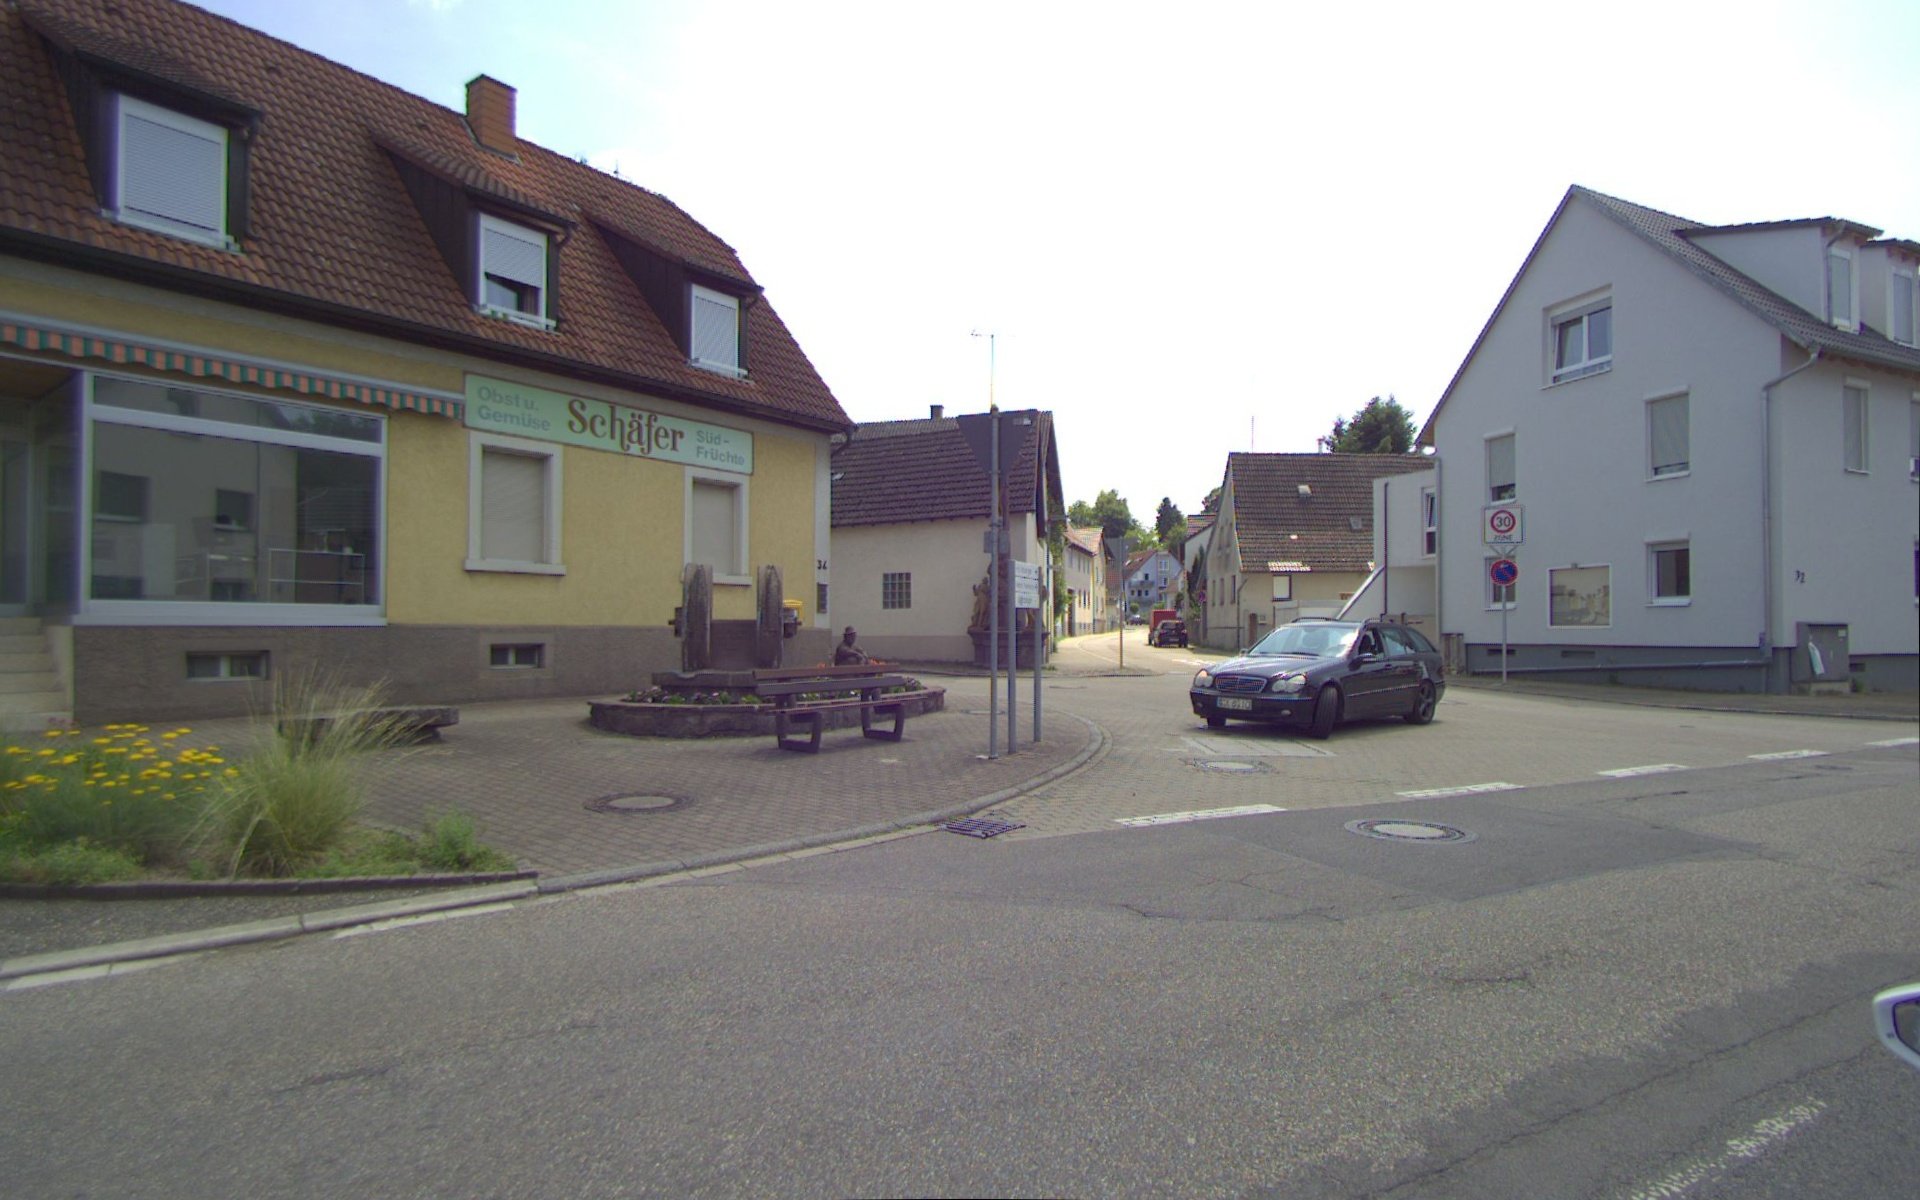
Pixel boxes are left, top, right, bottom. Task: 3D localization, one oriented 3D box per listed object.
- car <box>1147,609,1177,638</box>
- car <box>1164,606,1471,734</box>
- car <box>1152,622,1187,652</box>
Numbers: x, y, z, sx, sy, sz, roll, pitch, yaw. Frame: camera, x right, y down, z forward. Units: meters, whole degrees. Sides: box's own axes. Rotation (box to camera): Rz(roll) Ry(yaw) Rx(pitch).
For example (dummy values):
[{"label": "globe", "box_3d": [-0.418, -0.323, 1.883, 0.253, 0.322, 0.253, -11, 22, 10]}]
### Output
[{"label": "car", "box_3d": [12.340, 1.442, 61.403, 1.369, 1.656, 3.478, 2, -2, 5]}, {"label": "car", "box_3d": [4.916, 0.896, 13.464, 4.599, 1.430, 1.793, 3, -2, -40]}, {"label": "car", "box_3d": [11.643, 2.049, 55.887, 1.461, 1.550, 3.478, 2, -2, 5]}]
